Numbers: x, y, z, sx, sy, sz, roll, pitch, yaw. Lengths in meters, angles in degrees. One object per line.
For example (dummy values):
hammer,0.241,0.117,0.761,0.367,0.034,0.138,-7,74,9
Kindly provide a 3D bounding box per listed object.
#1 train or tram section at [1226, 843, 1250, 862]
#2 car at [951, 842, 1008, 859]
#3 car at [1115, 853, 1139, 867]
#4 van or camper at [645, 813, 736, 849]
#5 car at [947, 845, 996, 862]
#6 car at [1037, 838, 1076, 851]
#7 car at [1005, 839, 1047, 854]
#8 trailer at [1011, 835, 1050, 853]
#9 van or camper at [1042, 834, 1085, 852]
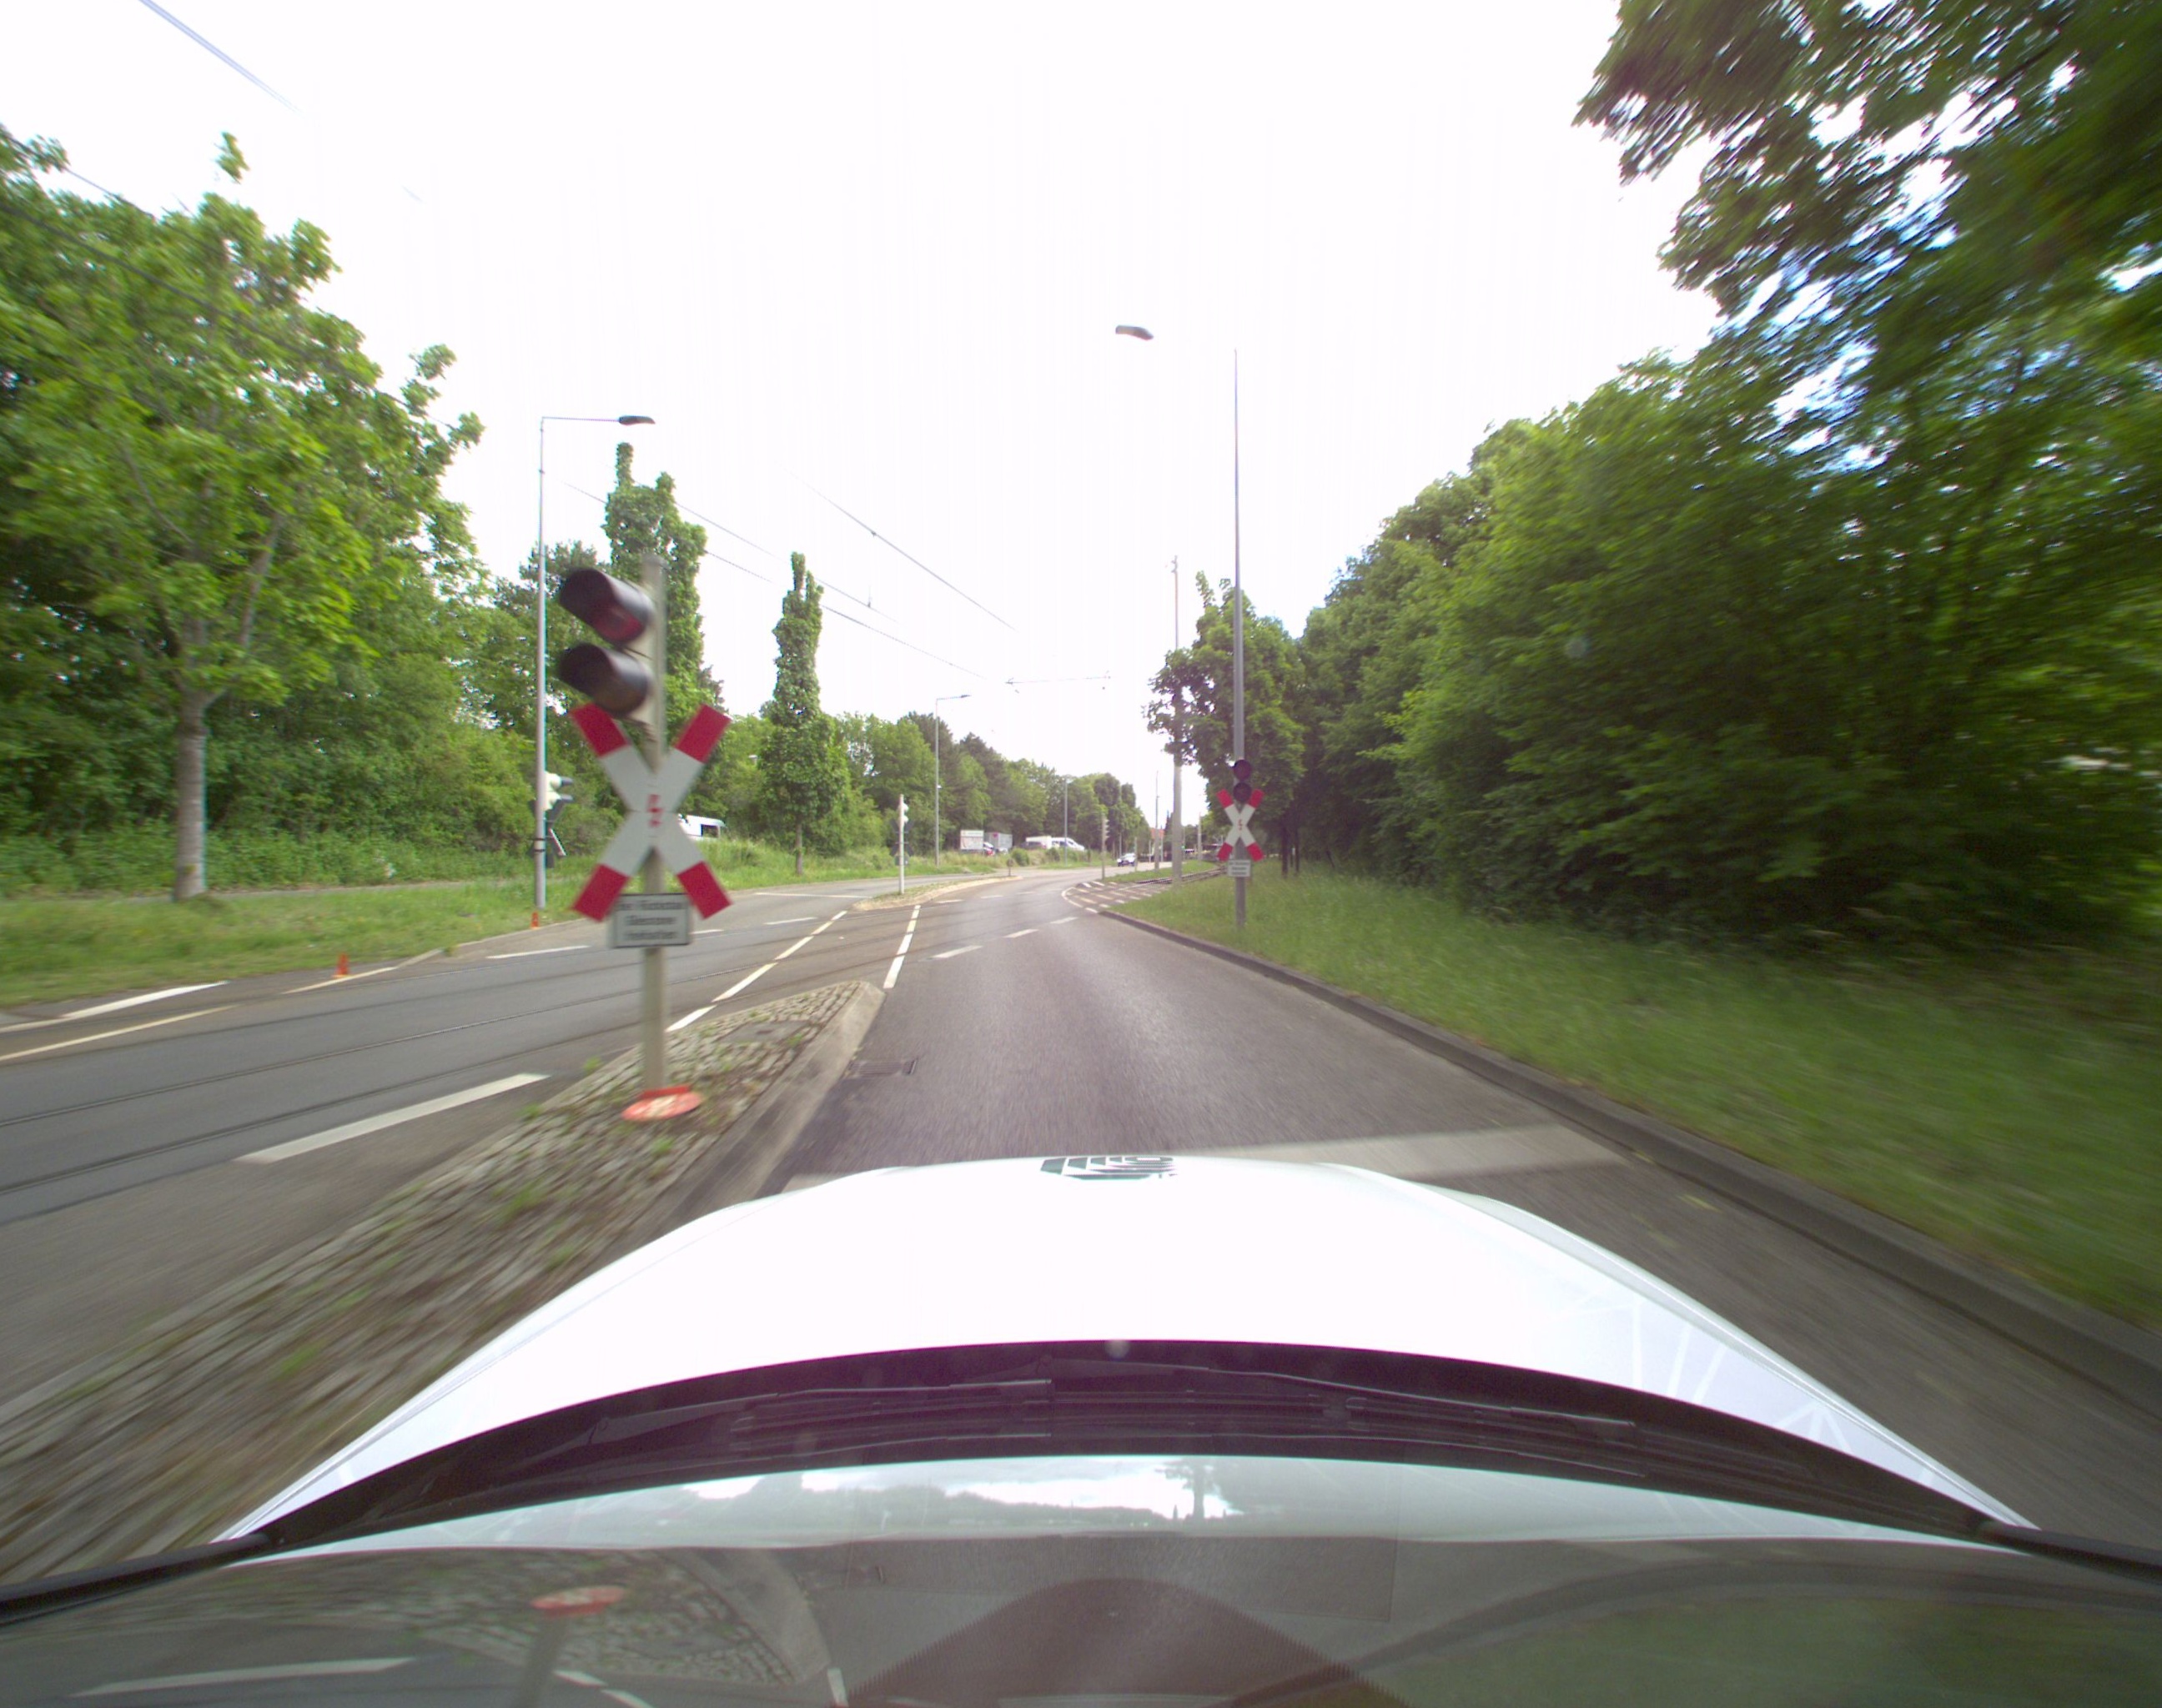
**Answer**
train or tram section,30.921,-0.326,161.775,2.991,3.310,34.789,1,0,8
car,-9.666,-0.321,77.894,4.896,1.585,2.213,1,0,10
car,5.080,0.630,89.353,1.980,1.438,4.440,-1,0,11
van or camper,-21.178,-1.213,44.371,1.980,1.877,4.646,1,1,13
car,-9.777,-0.060,72.747,3.931,1.397,2.005,1,1,8
car,-3.191,-1.180,104.729,4.605,1.656,2.009,1,0,18
car,-6.035,-0.821,90.014,4.288,1.448,1.840,-1,0,7
trailer,-5.763,-1.173,93.072,3.959,2.013,1.915,1,0,13
van or camper,-2.232,-1.427,107.134,5.299,2.202,2.006,1,0,10
